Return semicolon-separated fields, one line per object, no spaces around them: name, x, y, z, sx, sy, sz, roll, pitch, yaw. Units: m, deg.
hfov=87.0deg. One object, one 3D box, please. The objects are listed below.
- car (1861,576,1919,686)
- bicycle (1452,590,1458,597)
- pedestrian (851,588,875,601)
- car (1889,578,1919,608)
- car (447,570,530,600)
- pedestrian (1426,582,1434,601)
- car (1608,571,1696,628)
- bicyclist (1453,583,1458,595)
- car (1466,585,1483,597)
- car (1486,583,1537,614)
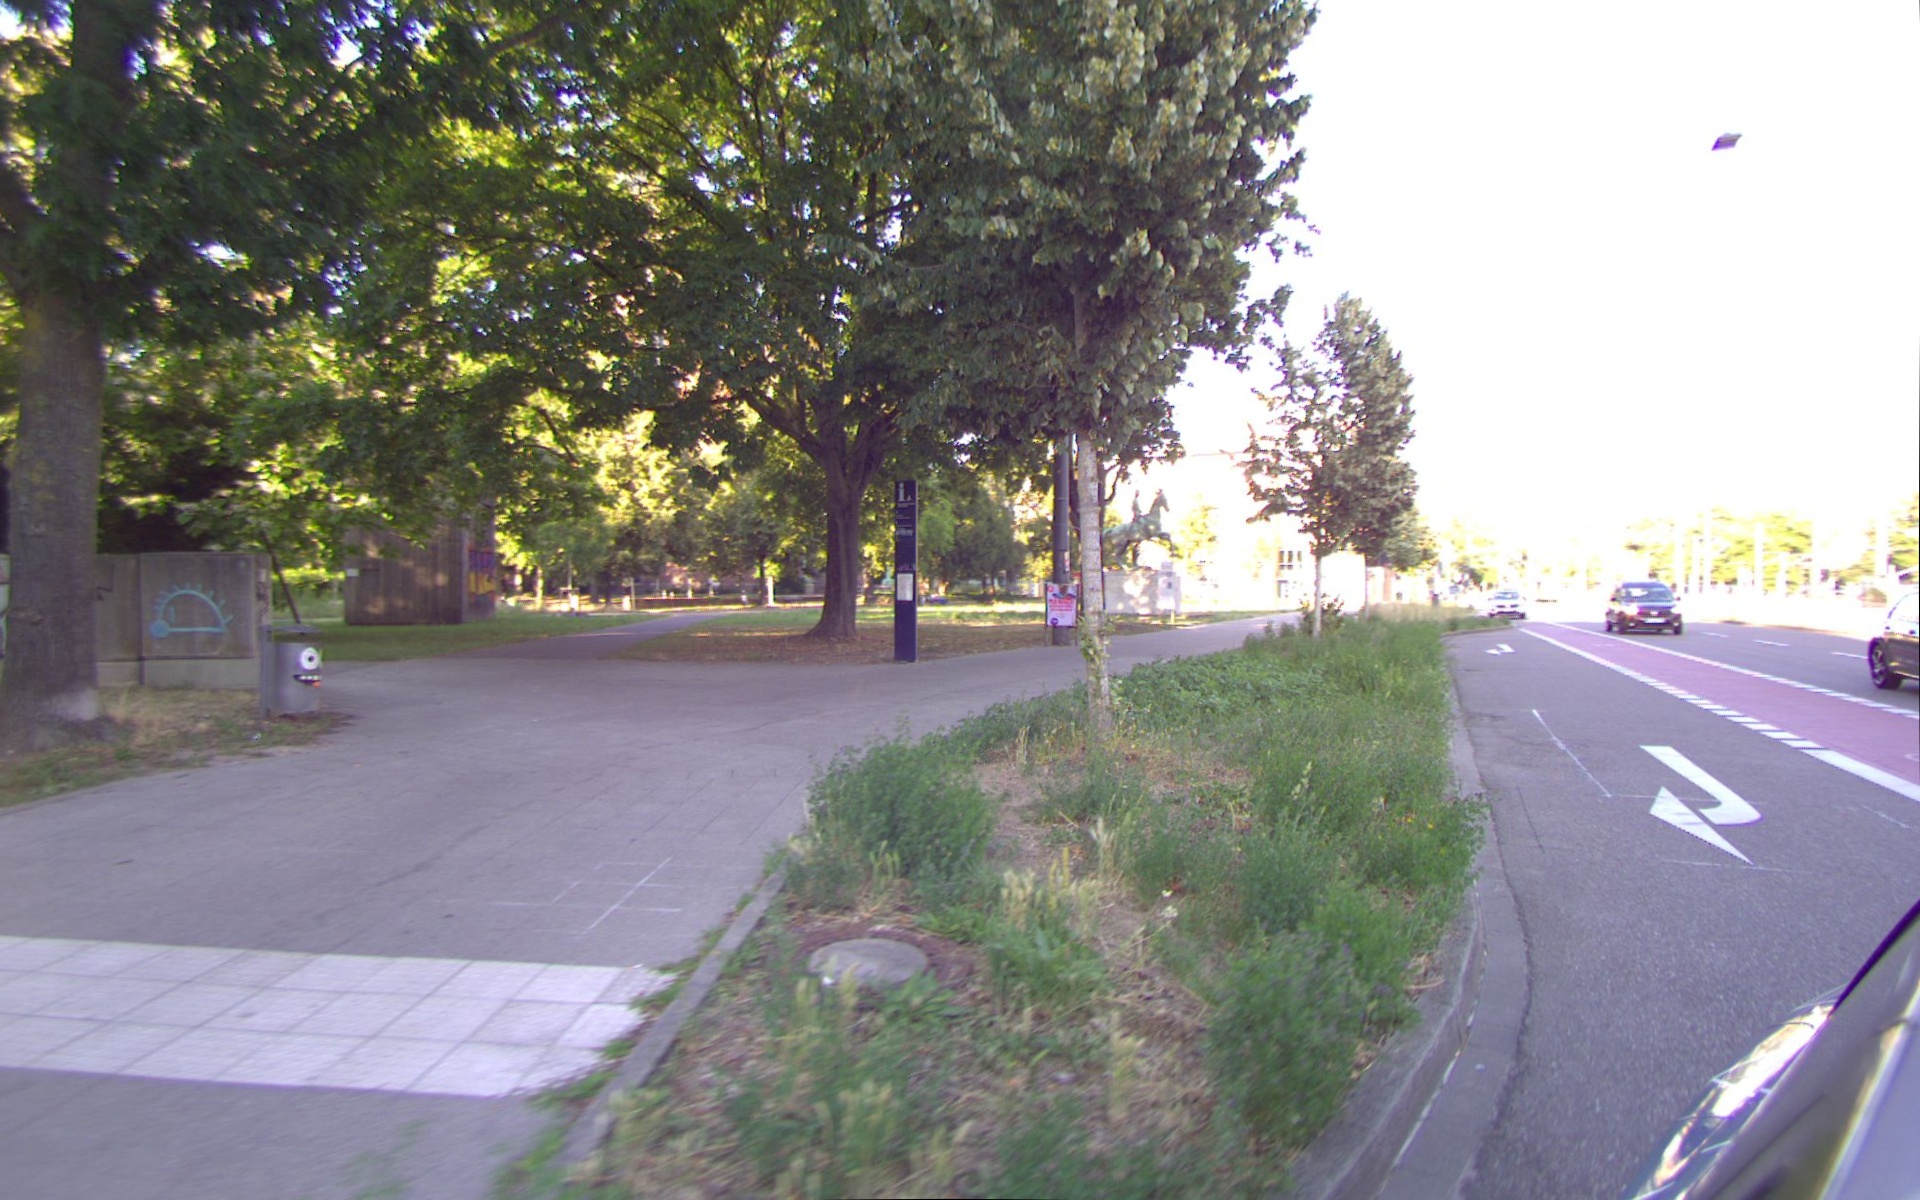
car;13.419;0.395;12.950;1.754;1.444;4.205;-1;0;27
bicycle;63.640;-0.875;130.053;0.604;0.940;1.759;0;0;29
pedestrian;-7.548;-0.441;78.855;1.376;1.007;1.267;0;0;37
car;66.348;-0.516;69.799;1.979;2.039;4.734;0;1;25
car;-28.743;-0.909;61.851;1.975;1.739;4.608;1;1;20
pedestrian;45.526;-0.827;98.031;0.646;1.746;0.708;0;0;29
car;22.809;-0.034;33.489;1.753;1.754;4.111;0;0;25
bicyclist;63.609;-1.397;130.014;0.547;1.630;0.824;0;0;29
car;66.605;-1.204;131.012;1.752;1.491;3.979;-2;0;25
car;30.310;-0.089;55.742;1.812;1.557;4.249;-3;0;21
